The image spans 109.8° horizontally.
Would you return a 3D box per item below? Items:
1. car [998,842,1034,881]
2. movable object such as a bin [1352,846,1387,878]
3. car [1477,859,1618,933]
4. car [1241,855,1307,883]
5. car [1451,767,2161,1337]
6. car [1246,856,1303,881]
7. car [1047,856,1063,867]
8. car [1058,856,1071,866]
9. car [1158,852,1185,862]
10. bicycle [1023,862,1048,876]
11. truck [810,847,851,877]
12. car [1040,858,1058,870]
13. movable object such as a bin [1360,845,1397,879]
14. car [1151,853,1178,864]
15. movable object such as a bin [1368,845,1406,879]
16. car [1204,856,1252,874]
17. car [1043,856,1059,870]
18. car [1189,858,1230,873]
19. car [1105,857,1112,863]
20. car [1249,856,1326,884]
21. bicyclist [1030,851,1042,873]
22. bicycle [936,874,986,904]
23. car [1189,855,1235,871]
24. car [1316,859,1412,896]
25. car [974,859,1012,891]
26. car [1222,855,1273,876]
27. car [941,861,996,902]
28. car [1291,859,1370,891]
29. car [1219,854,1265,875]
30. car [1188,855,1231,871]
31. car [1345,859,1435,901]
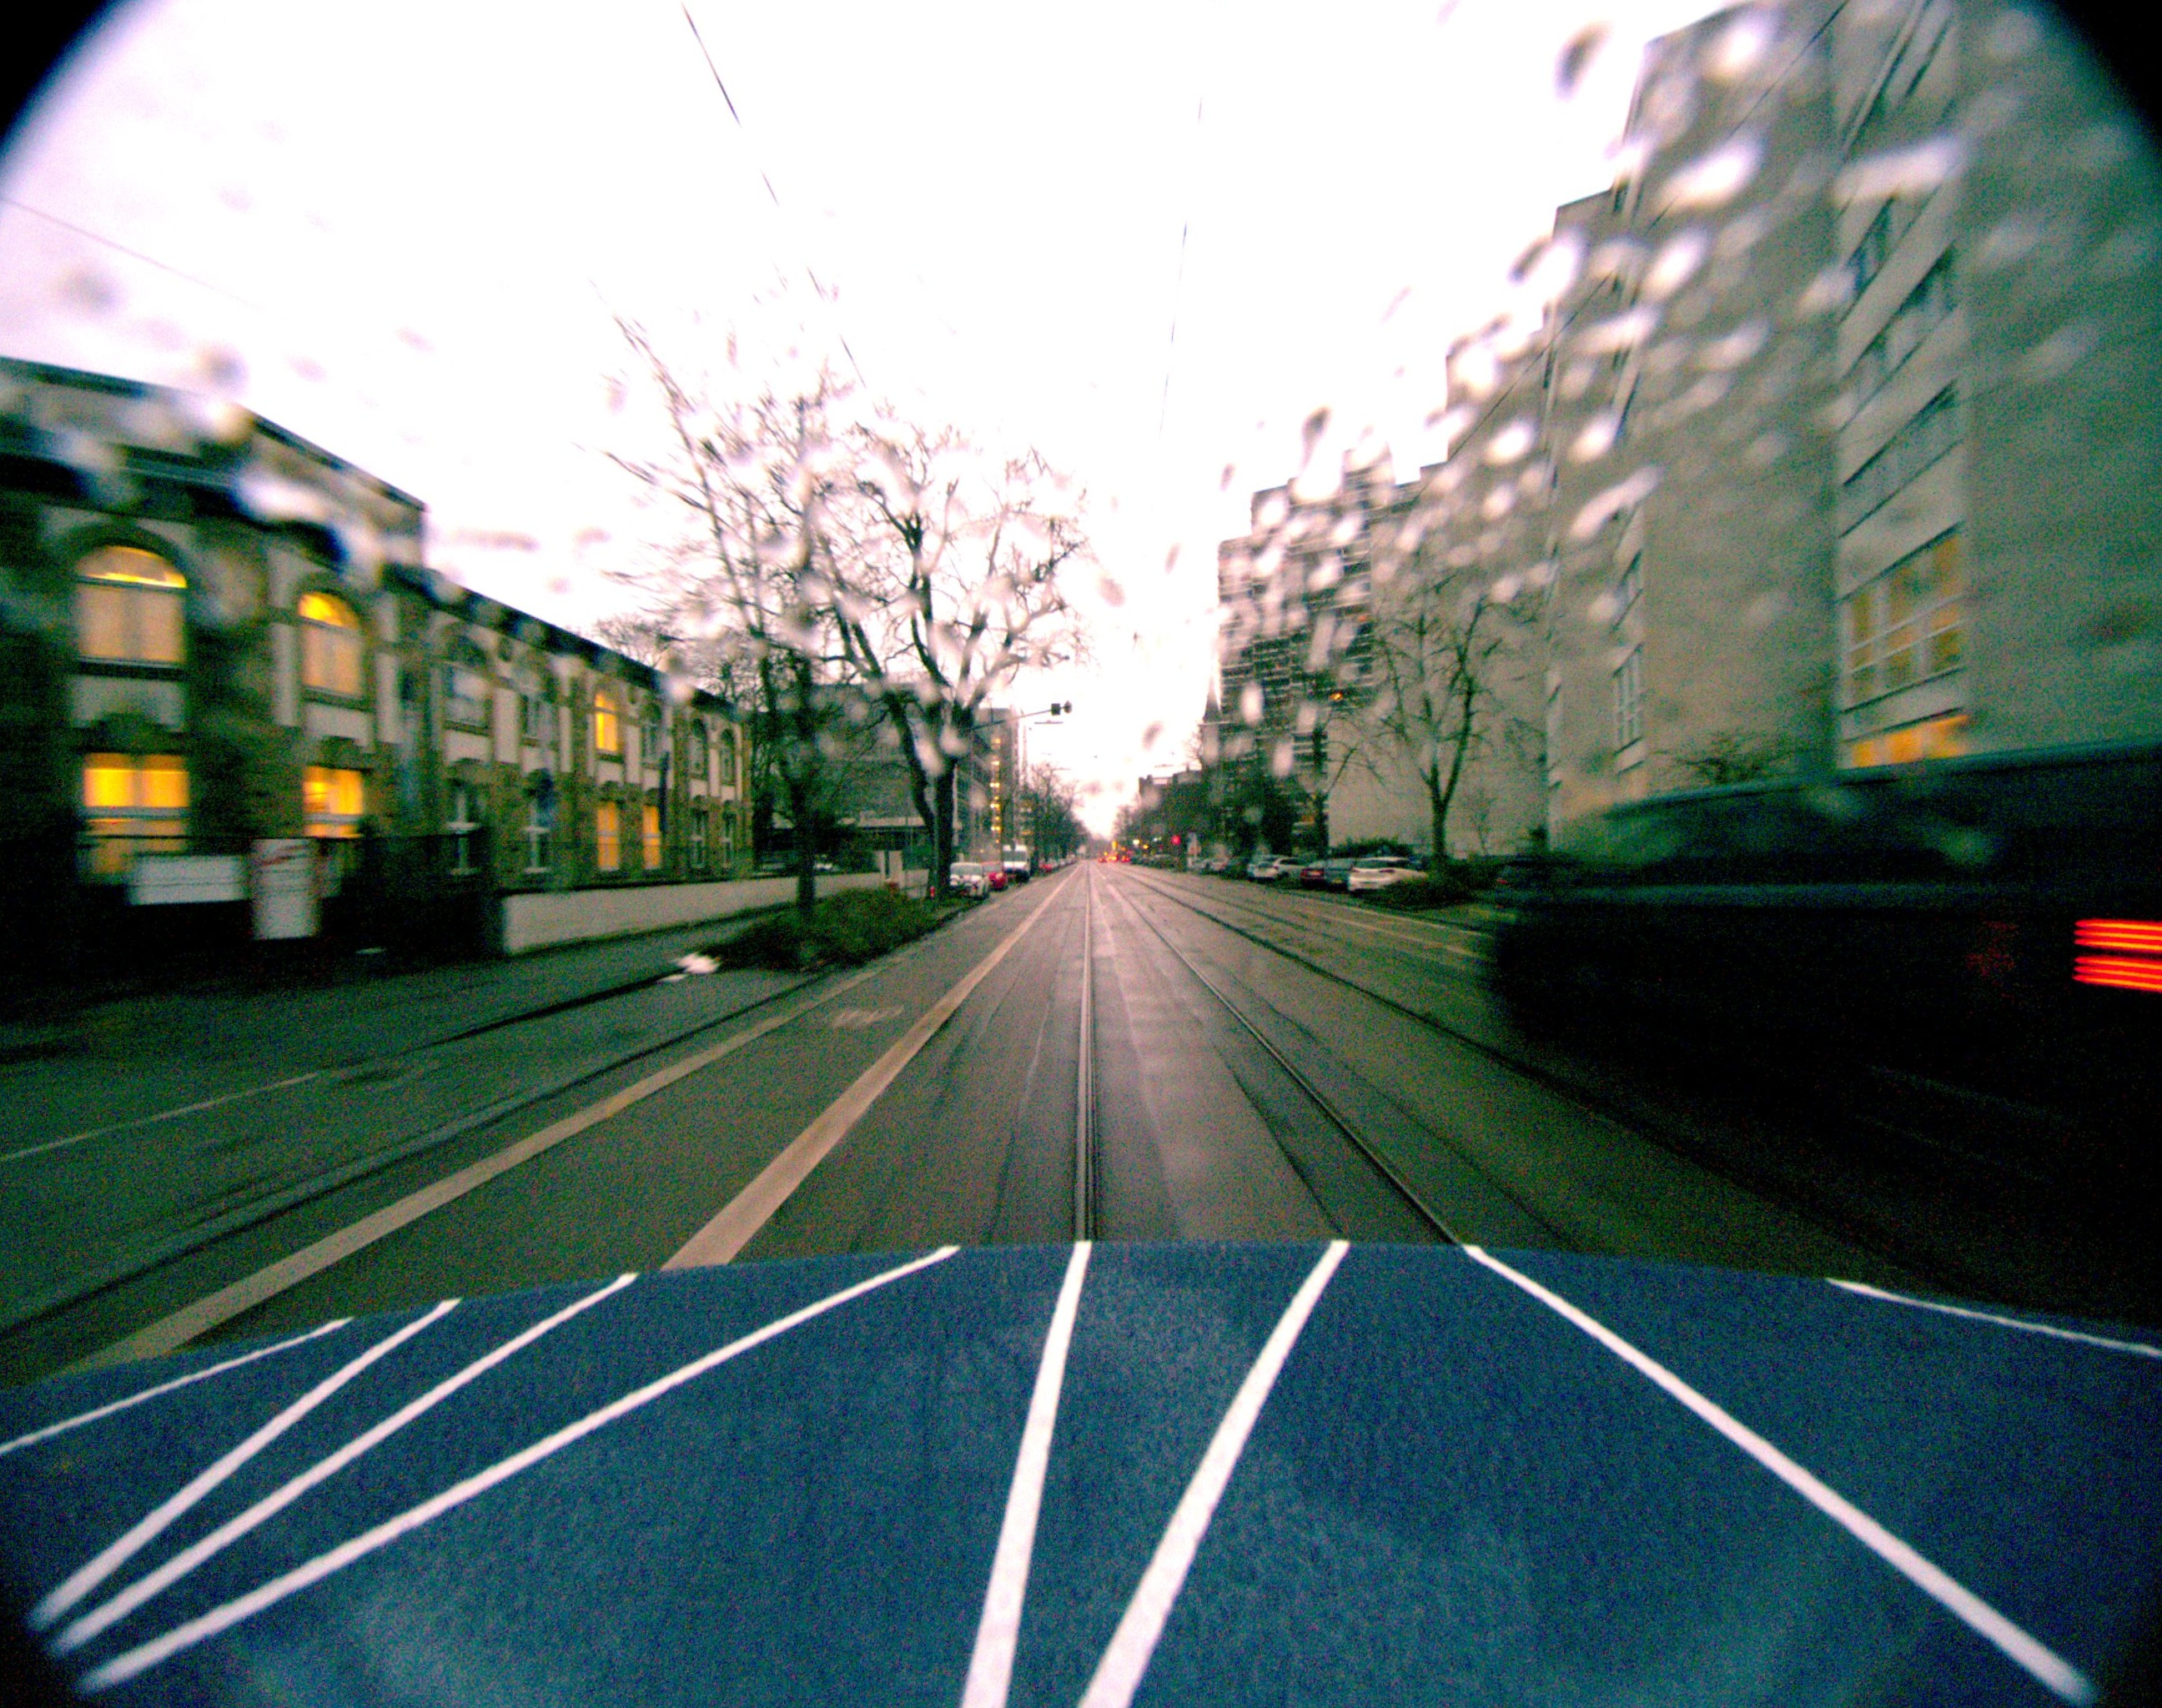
[{"bbox_3d":[-4.317,0.505,51.073,2.130,2.472,5.438,0,-1,-2],"label":"car"},{"bbox_3d":[16.884,0.486,44.520,1.573,1.849,1.318,0,-1,2],"label":"movable object such as a bin"},{"bbox_3d":[10.780,0.877,17.429,4.008,1.462,1.826,0,0,-44],"label":"car"},{"bbox_3d":[11.259,0.825,44.145,4.008,1.554,1.732,0,-1,-41],"label":"car"},{"bbox_3d":[4.613,0.683,4.749,2.051,1.911,5.100,0,-1,-1],"label":"car"},{"bbox_3d":[12.224,0.885,48.005,3.885,1.542,1.688,0,-1,-44],"label":"car"},{"bbox_3d":[-3.565,1.032,104.467,1.866,1.584,4.001,0,-1,3],"label":"car"},{"bbox_3d":[-2.684,1.130,124.605,1.866,1.584,4.001,0,-1,3],"label":"car"},{"bbox_3d":[13.648,0.504,115.077,3.995,1.477,1.673,0,0,6],"label":"car"},{"bbox_3d":[-3.575,1.188,59.659,1.895,1.126,0.730,0,0,-15],"label":"bicycle"},{"bbox_3d":[-23.229,0.697,70.747,2.132,2.573,7.075,0,1,-6],"label":"truck"},{"bbox_3d":[-3.536,1.129,84.847,1.753,1.379,3.737,0,-1,2],"label":"car"},{"bbox_3d":[16.855,0.471,43.121,1.573,1.849,1.394,0,-1,2],"label":"movable object such as a bin"},{"bbox_3d":[12.288,0.681,111.677,3.995,1.477,1.673,0,0,6],"label":"car"},{"bbox_3d":[16.806,0.449,41.726,1.573,1.849,1.318,0,-1,2],"label":"movable object such as a bin"},{"bbox_3d":[11.845,0.863,61.081,1.788,1.437,4.009,-1,-1,45],"label":"car"},{"bbox_3d":[-3.671,1.111,93.597,1.753,1.574,3.737,0,-1,2],"label":"car"},{"bbox_3d":[12.579,1.088,74.200,4.008,1.391,1.851,0,-1,-41],"label":"car"},{"bbox_3d":[7.305,1.545,203.811,1.751,1.535,4.296,0,-1,3],"label":"car"},{"bbox_3d":[11.111,0.842,40.913,4.007,1.435,1.732,0,1,-32],"label":"car"},{"bbox_3d":[-3.537,0.616,59.677,0.771,1.679,0.706,0,0,-15],"label":"bicyclist"},{"bbox_3d":[-4.429,1.286,28.098,1.717,1.064,0.663,0,0,1],"label":"bicycle"},{"bbox_3d":[11.603,0.756,67.220,4.008,1.370,1.851,0,-1,-41],"label":"car"},{"bbox_3d":[11.858,0.939,31.759,4.007,1.455,1.732,0,1,-34],"label":"car"},{"bbox_3d":[-4.504,1.056,39.344,1.647,1.514,3.572,-1,-1,-2],"label":"car"},{"bbox_3d":[11.955,0.808,54.522,3.862,1.484,1.691,0,-1,-43],"label":"car"},{"bbox_3d":[-4.459,1.061,30.510,1.696,1.511,3.637,0,0,0],"label":"car"},{"bbox_3d":[11.397,0.923,34.592,1.745,1.344,4.357,1,0,43],"label":"car"},{"bbox_3d":[12.286,0.795,58.016,3.458,1.484,1.725,0,-1,-41],"label":"car"},{"bbox_3d":[12.073,0.797,71.086,4.008,1.454,1.851,0,-1,-41],"label":"car"},{"bbox_3d":[11.456,0.910,28.055,3.861,1.415,1.732,0,-1,-45],"label":"car"}]
